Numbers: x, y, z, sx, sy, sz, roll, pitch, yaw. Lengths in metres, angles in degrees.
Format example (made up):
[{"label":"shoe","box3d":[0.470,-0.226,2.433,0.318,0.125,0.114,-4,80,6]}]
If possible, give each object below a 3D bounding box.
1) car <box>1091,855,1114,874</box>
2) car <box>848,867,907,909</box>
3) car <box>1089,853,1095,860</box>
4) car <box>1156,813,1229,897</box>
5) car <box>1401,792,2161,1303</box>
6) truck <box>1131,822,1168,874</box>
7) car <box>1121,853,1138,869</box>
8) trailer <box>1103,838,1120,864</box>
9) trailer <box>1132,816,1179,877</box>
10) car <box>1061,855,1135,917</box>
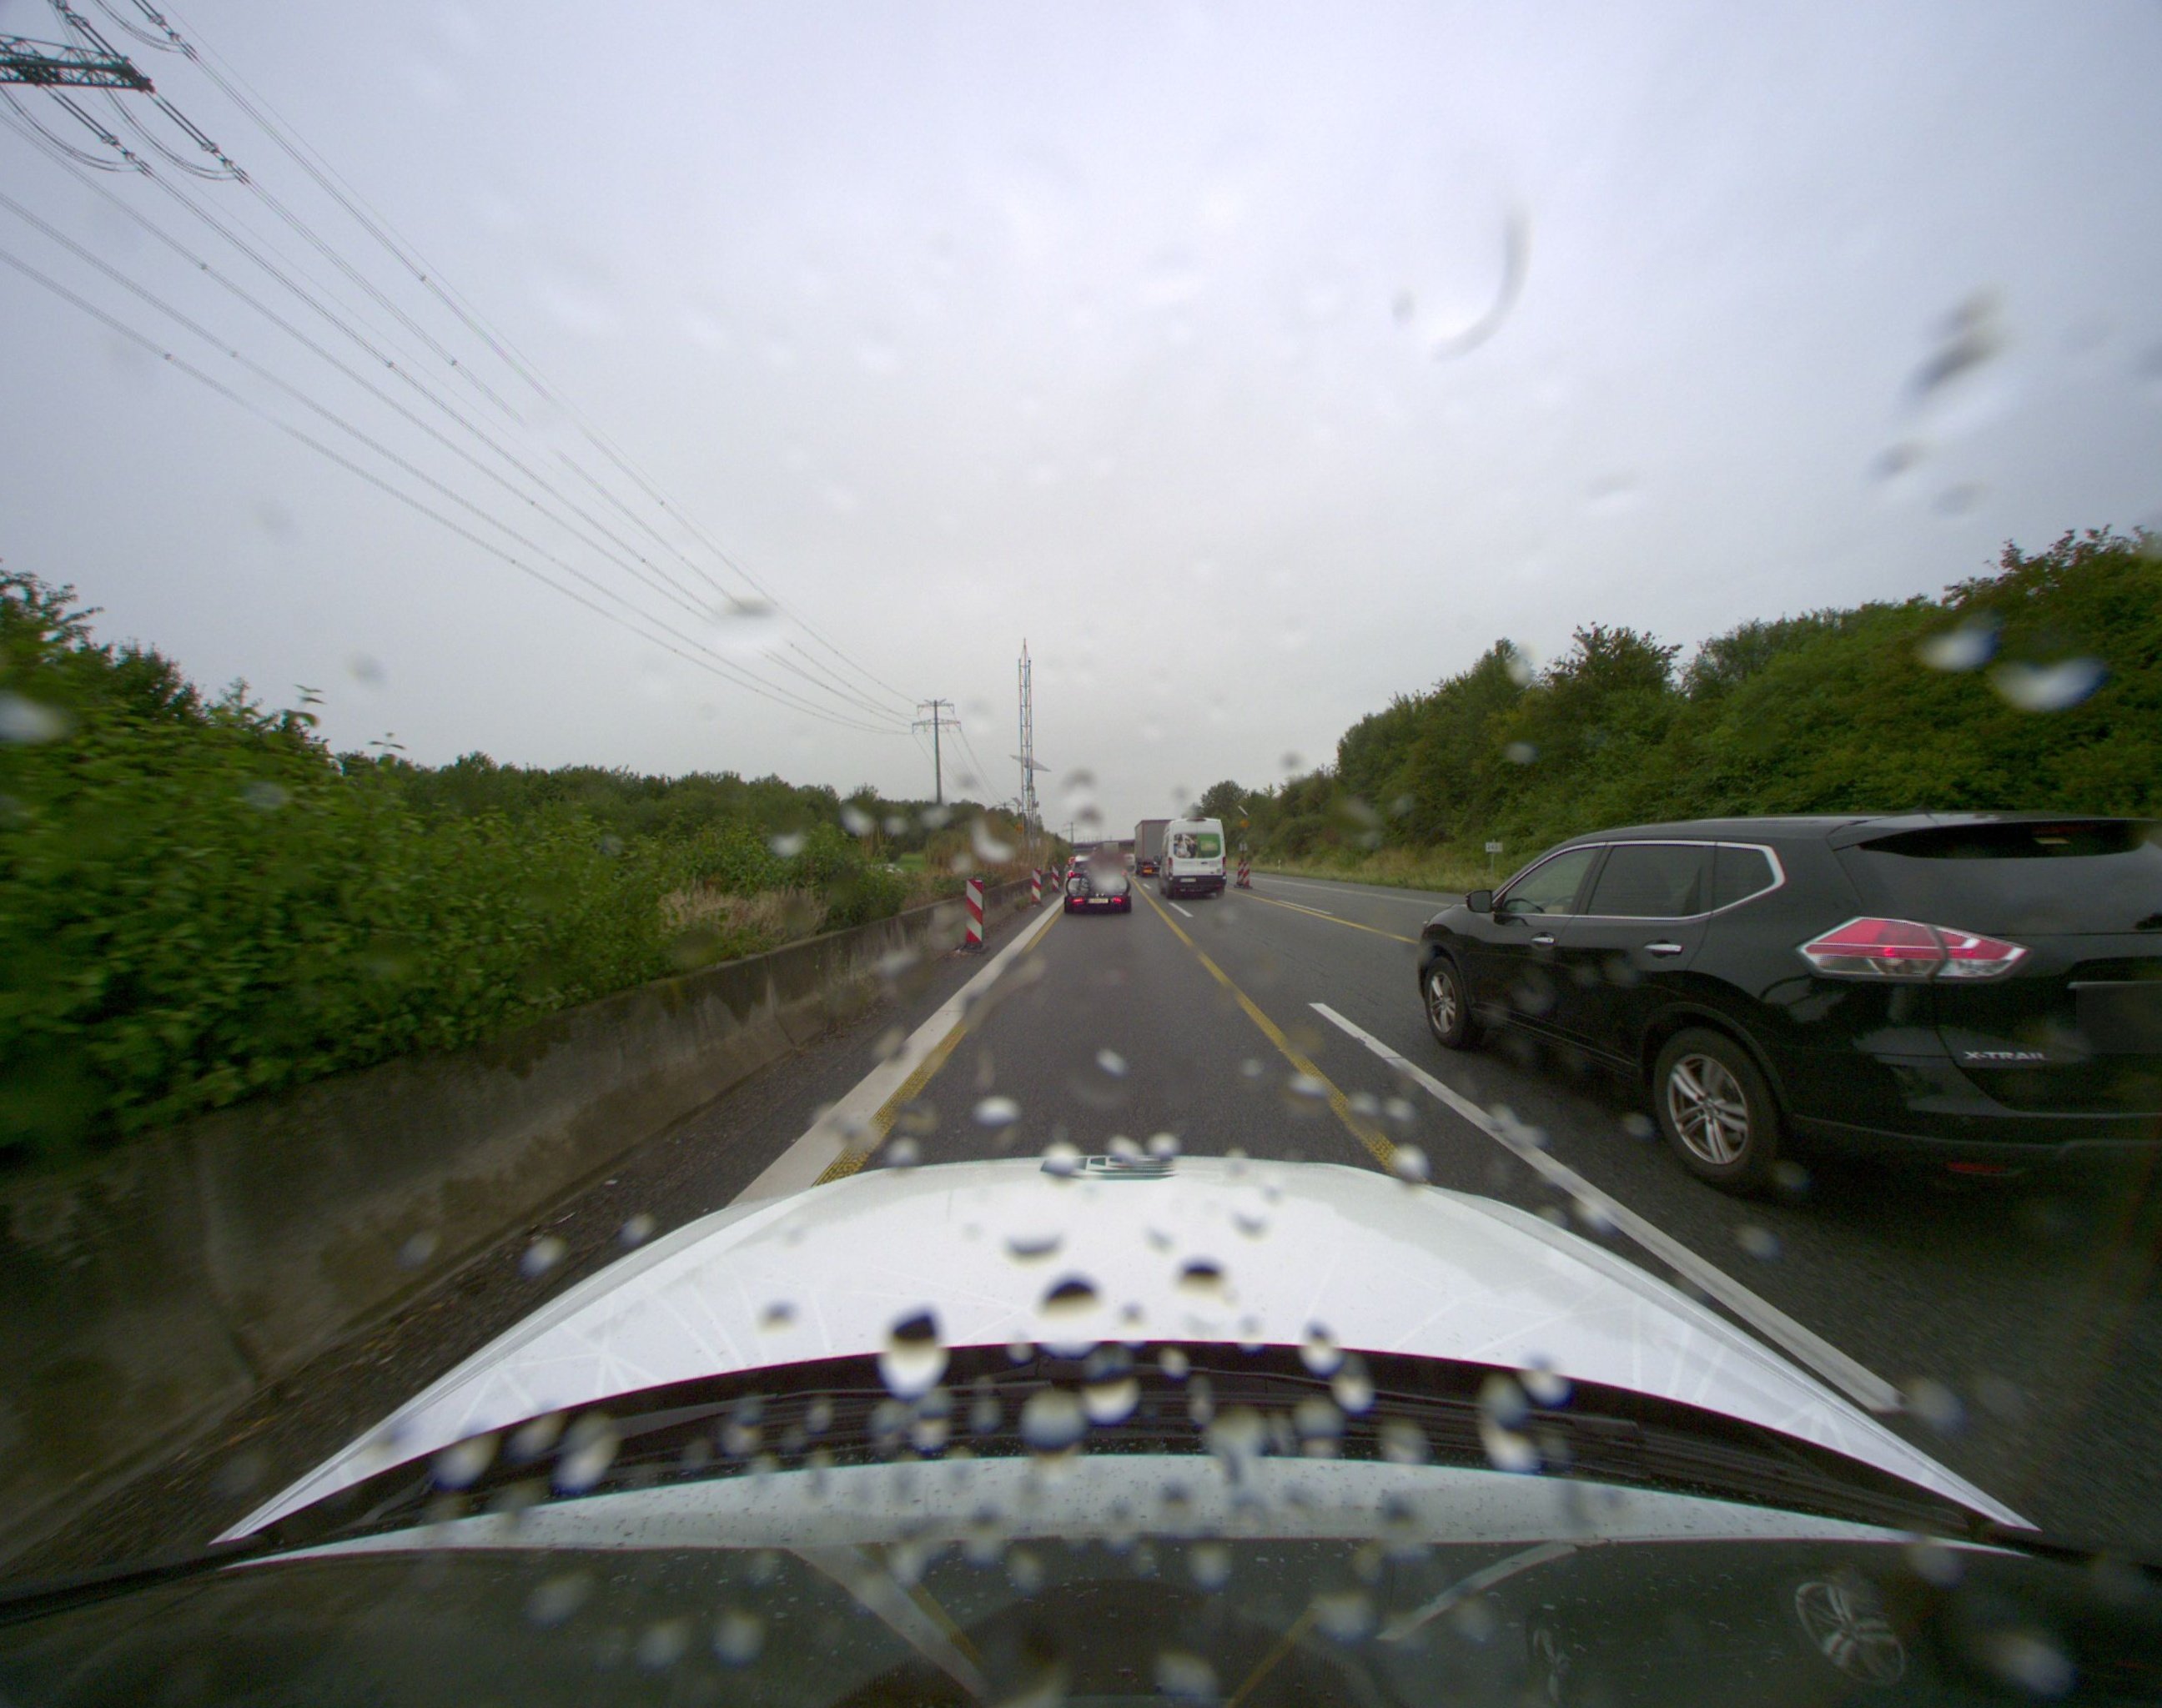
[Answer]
[{"label":"car","box3d":[1.843,0.876,69.106,1.843,1.531,4.001,-1,0,1]},{"label":"car","box3d":[-10.090,1.652,40.658,1.726,1.933,4.162,0,-1,2]},{"label":"car","box3d":[3.569,0.752,260.502,1.924,1.973,4.001,-1,1,1]},{"label":"car","box3d":[3.996,0.044,30.168,1.986,2.783,5.758,-2,0,1]},{"label":"car","box3d":[3.590,0.631,4.829,1.679,1.658,4.280,-1,0,0]},{"label":"truck","box3d":[5.782,-0.469,69.378,2.696,4.138,5.692,-1,0,1]},{"label":"car","box3d":[5.978,0.870,100.972,1.822,1.839,4.656,-1,0,1]},{"label":"trailer","box3d":[5.041,-0.478,138.159,2.683,4.076,13.637,-1,0,1]},{"label":"trailer","box3d":[5.549,-0.500,62.533,2.696,4.146,13.737,-1,0,2]},{"label":"car","box3d":[0.493,0.809,22.848,1.843,1.531,4.770,-1,0,1]}]
